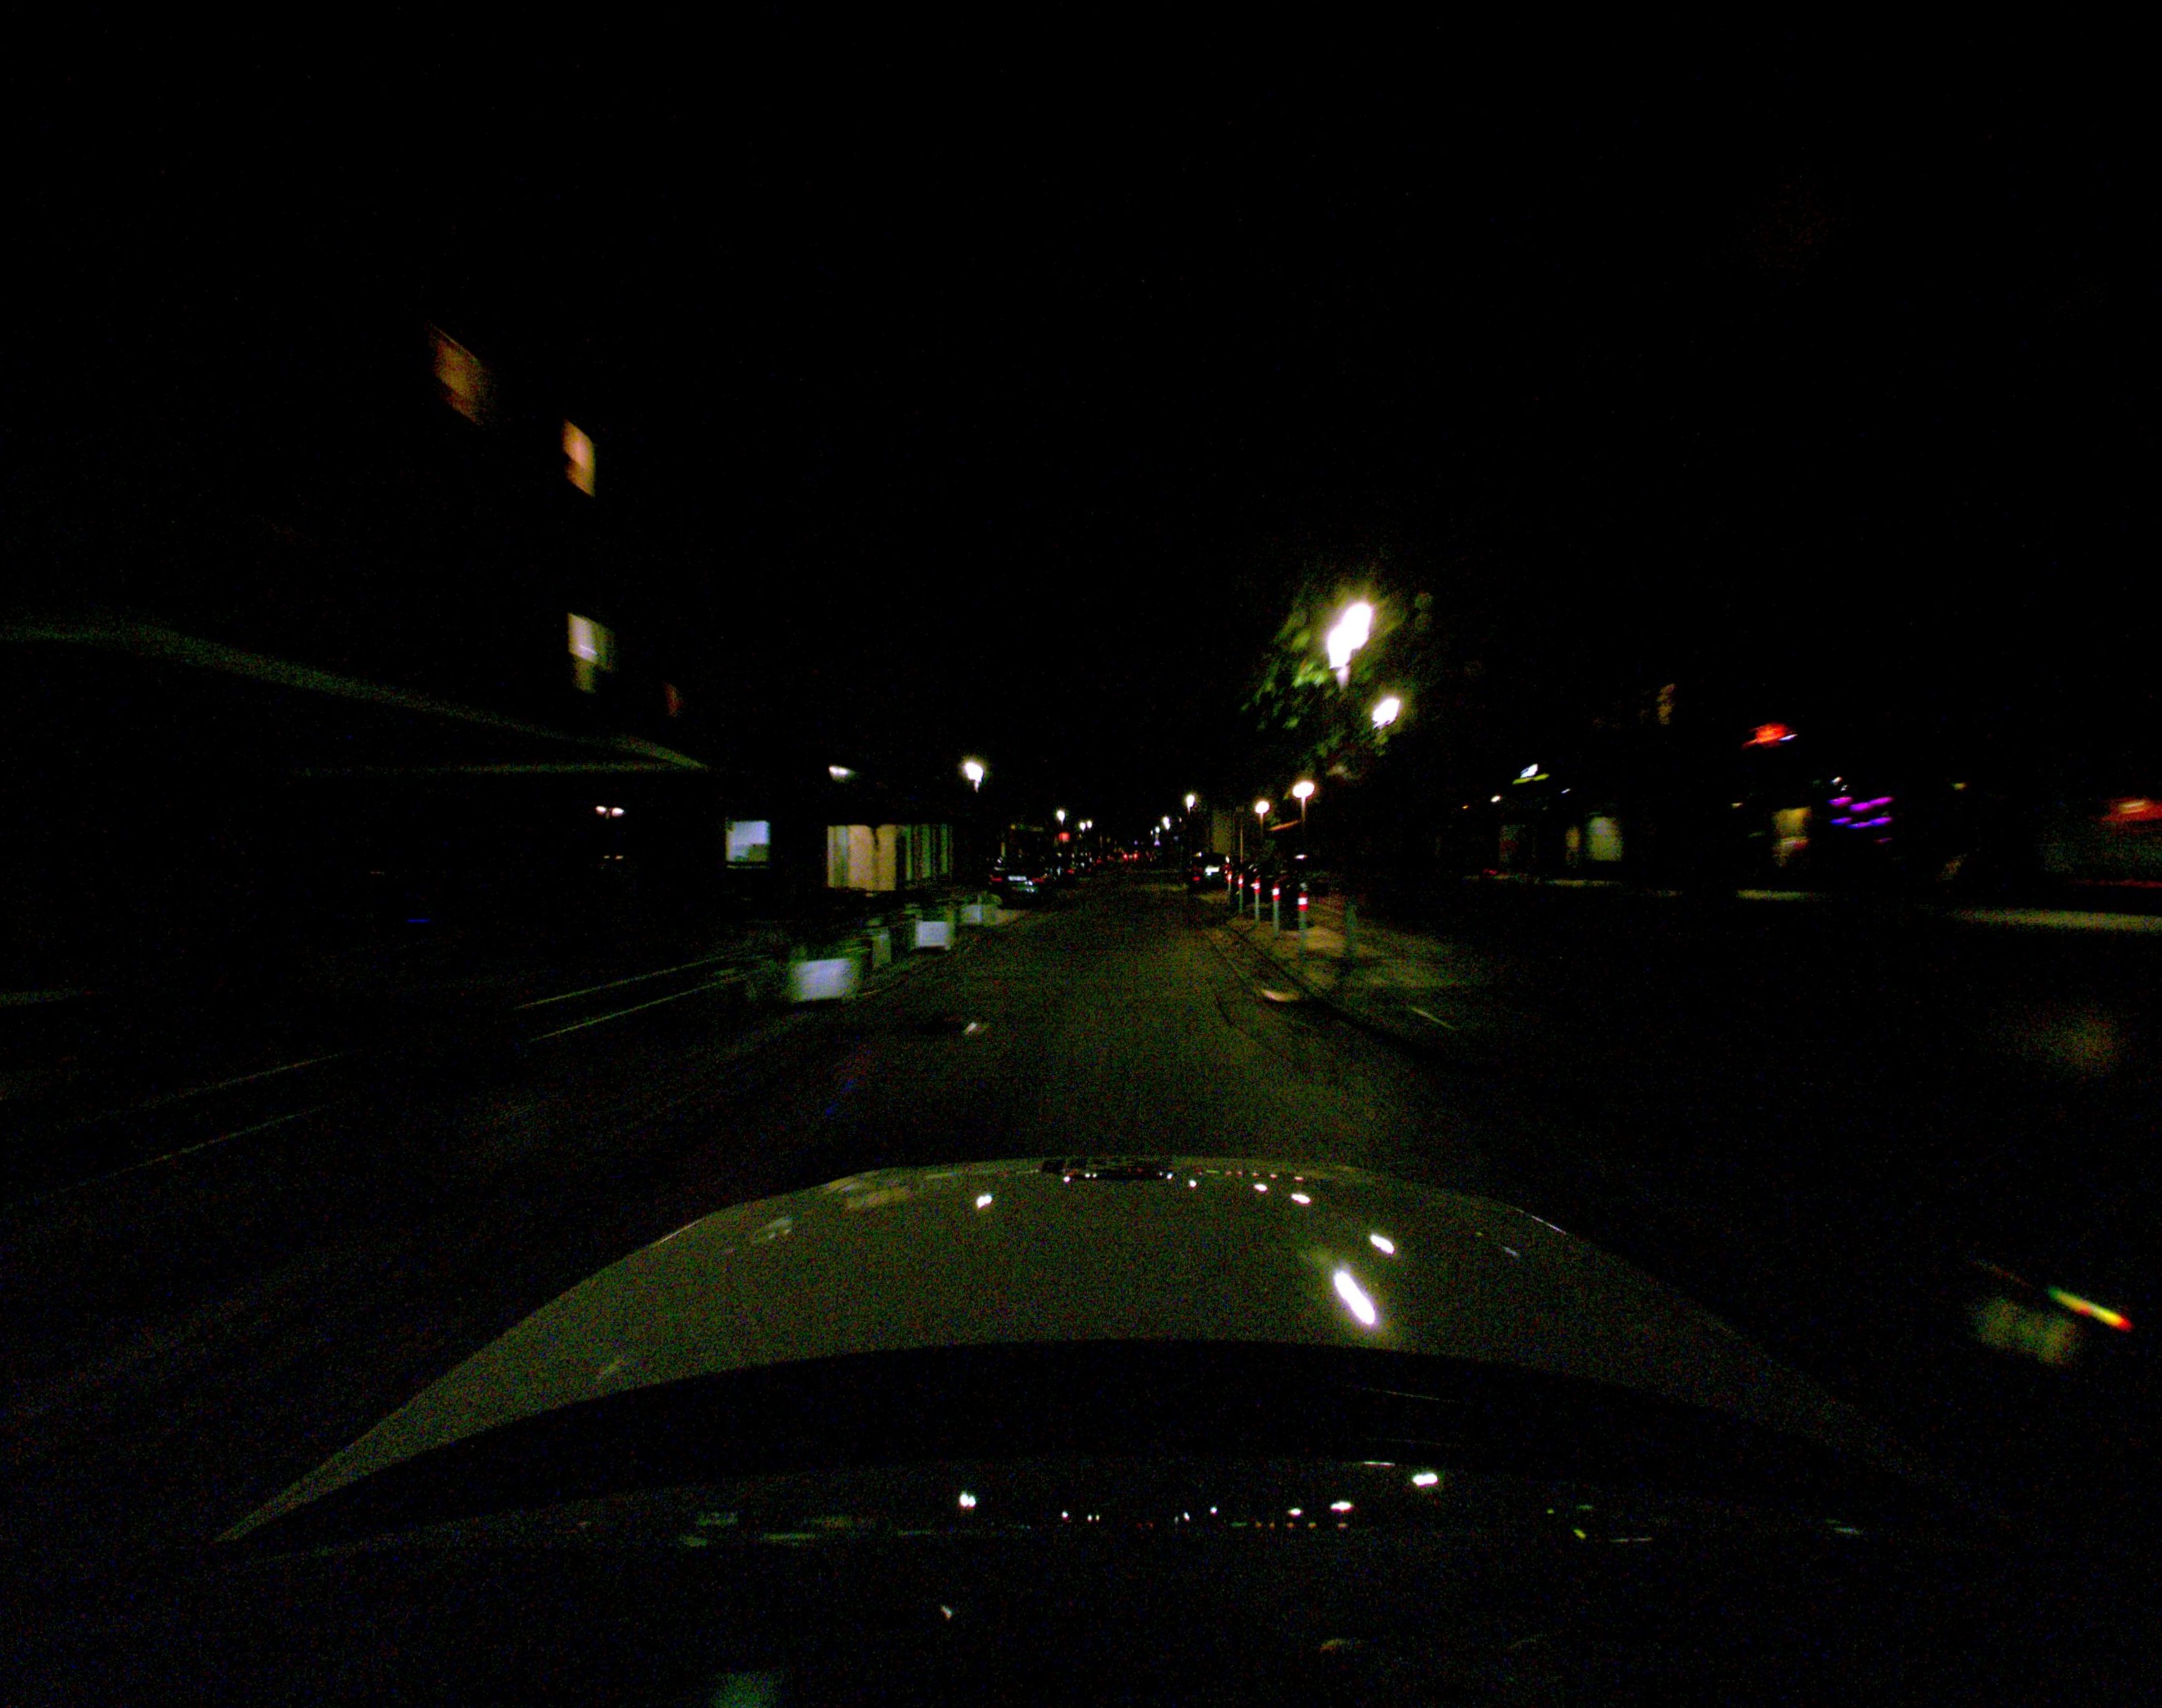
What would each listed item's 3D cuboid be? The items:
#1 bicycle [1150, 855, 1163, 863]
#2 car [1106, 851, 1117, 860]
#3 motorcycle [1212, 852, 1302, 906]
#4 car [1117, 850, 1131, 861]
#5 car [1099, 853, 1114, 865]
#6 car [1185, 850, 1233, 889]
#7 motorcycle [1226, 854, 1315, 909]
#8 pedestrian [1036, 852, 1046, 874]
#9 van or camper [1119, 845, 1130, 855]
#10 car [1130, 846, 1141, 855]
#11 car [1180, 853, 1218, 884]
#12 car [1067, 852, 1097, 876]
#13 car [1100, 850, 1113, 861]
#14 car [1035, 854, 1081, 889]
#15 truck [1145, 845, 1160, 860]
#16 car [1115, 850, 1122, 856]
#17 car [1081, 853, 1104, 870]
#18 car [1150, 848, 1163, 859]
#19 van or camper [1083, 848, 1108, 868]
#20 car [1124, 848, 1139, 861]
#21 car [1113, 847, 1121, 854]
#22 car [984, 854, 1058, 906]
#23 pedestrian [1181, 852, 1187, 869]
[{"bbox_3d":[10.200,0.661,109.824,1.748,1.062,0.346,-1,0,0],"label":"bicycle"},{"bbox_3d":[5.295,0.193,141.491,1.669,1.543,4.226,0,0,-2],"label":"car"},{"bbox_3d":[4.734,0.676,21.953,2.242,1.391,0.665,-2,-1,28],"label":"motorcycle"},{"bbox_3d":[7.060,0.295,133.782,1.988,1.702,3.997,-1,0,-2],"label":"car"},{"bbox_3d":[3.560,0.673,113.341,2.011,1.488,5.011,2,0,3],"label":"car"},{"bbox_3d":[5.277,0.619,34.036,1.744,1.464,4.475,-3,0,7],"label":"car"},{"bbox_3d":[4.714,0.687,20.412,2.143,1.297,0.519,-2,-1,41],"label":"motorcycle"},{"bbox_3d":[-3.107,0.704,63.378,0.618,1.745,1.024,0,0,4],"label":"pedestrian"},{"bbox_3d":[10.488,-1.035,198.376,2.104,2.317,4.257,-2,0,-3],"label":"van or camper"},{"bbox_3d":[11.476,-0.646,172.230,1.811,1.828,4.343,-1,0,-3],"label":"car"},{"bbox_3d":[5.700,0.681,39.653,1.652,1.377,4.111,-3,0,7],"label":"car"},{"bbox_3d":[0.116,0.664,55.188,1.790,1.478,4.324,1,0,3],"label":"car"},{"bbox_3d":[3.425,0.175,108.008,1.721,1.477,3.849,0,0,2],"label":"car"},{"bbox_3d":[-0.965,0.748,37.125,1.838,1.464,4.624,1,0,1],"label":"car"},{"bbox_3d":[11.925,-0.267,136.613,2.327,2.312,5.785,-1,0,3],"label":"truck"},{"bbox_3d":[9.656,-0.304,211.254,1.527,1.418,3.843,-1,0,-2],"label":"car"},{"bbox_3d":[0.980,0.634,69.723,1.709,1.413,4.390,1,0,4],"label":"car"},{"bbox_3d":[11.248,-0.089,120.965,1.781,1.491,4.064,-2,0,4],"label":"car"},{"bbox_3d":[1.478,0.351,81.814,1.835,1.942,5.166,0,0,9],"label":"van or camper"},{"bbox_3d":[7.144,0.081,115.977,1.986,1.823,4.002,-1,0,2],"label":"car"},{"bbox_3d":[9.472,-1.021,217.279,1.834,1.901,3.843,-1,0,-2],"label":"car"},{"bbox_3d":[-1.777,0.741,25.415,1.893,1.470,4.526,0,0,1],"label":"car"},{"bbox_3d":[9.612,0.602,75.922,0.498,1.547,0.481,0,-1,9],"label":"pedestrian"}]
